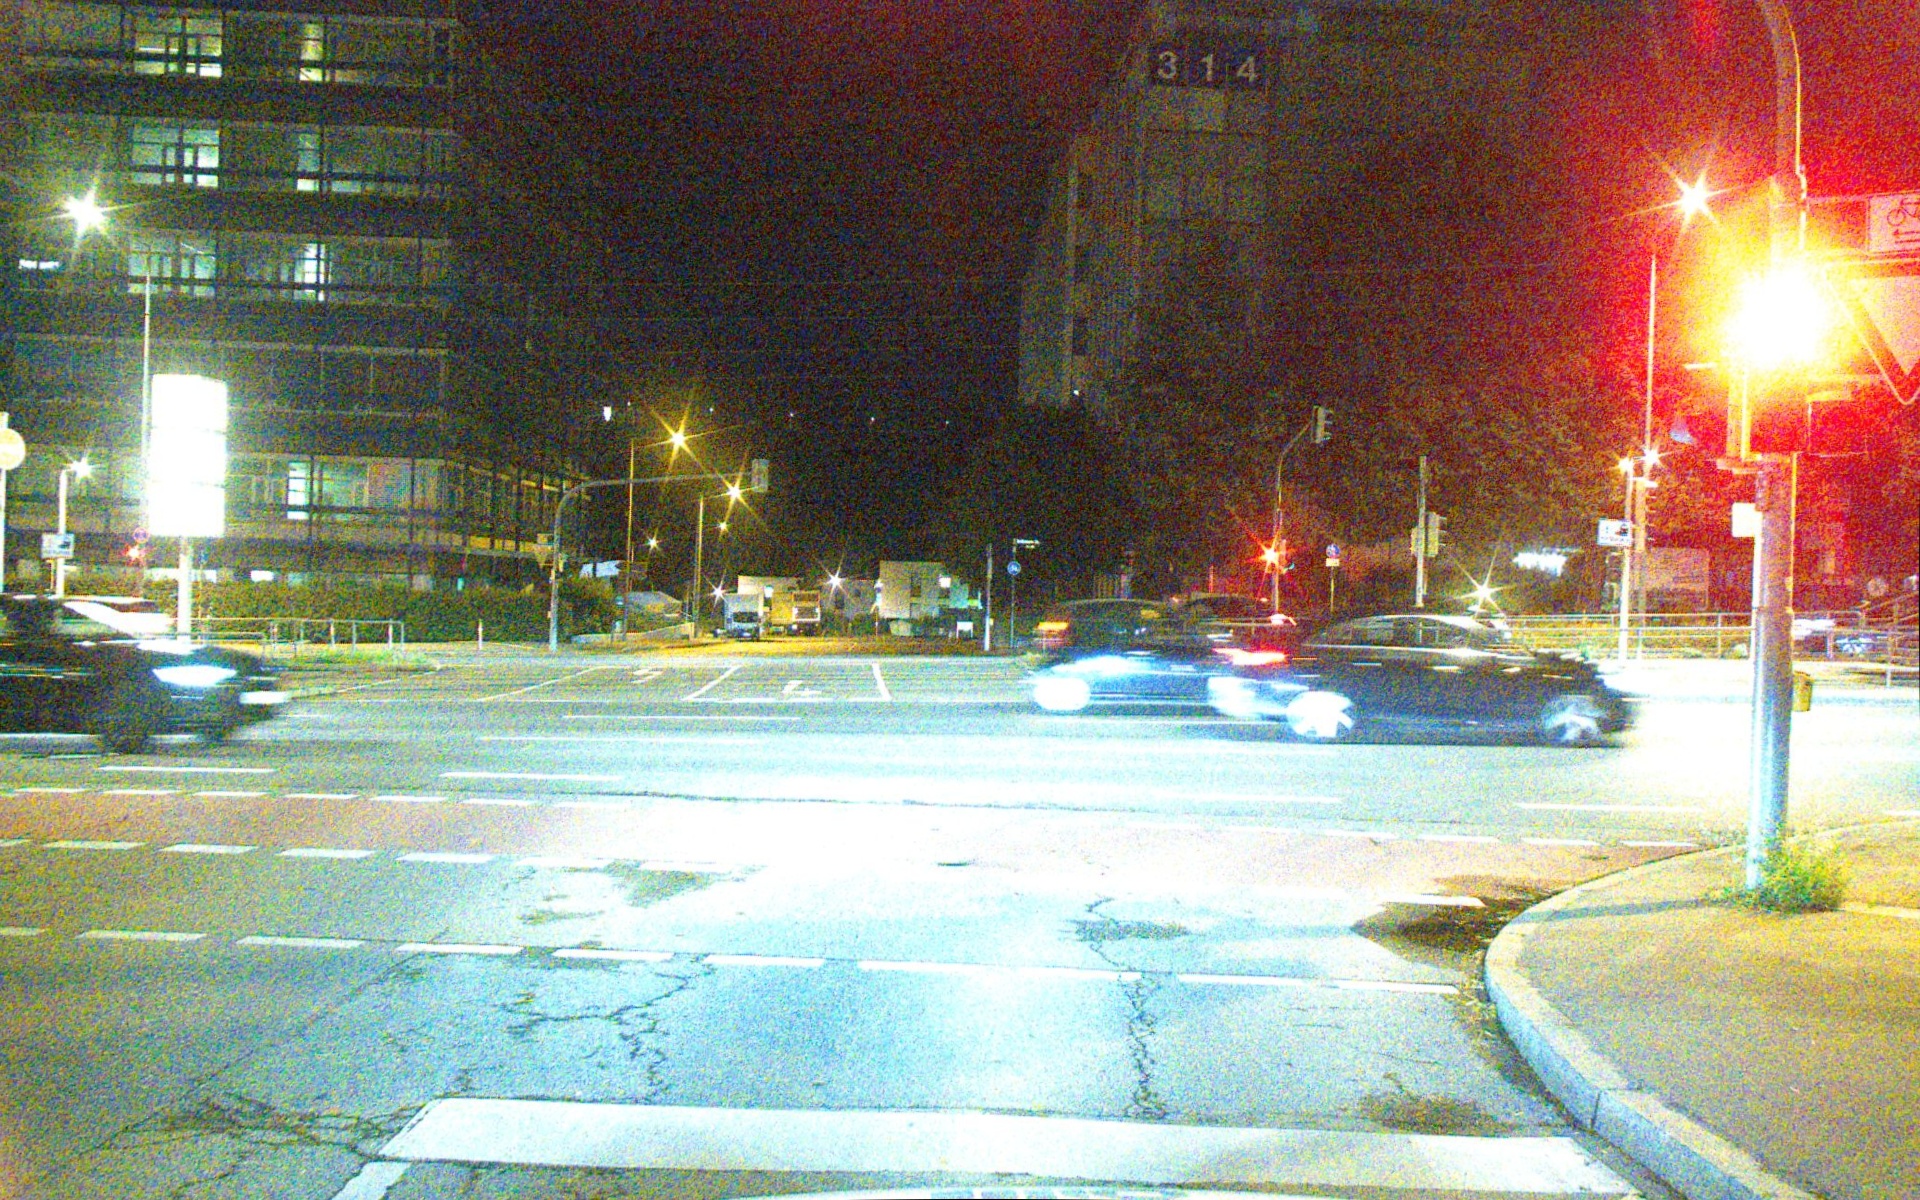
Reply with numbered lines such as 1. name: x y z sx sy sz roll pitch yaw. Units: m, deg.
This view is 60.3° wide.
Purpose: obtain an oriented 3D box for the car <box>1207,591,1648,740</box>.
1. car: 5.114 0.697 18.539 4.476 1.444 1.746 -1 3 2

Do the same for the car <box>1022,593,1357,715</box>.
1. car: 2.957 0.663 21.636 4.159 1.444 1.746 0 2 7

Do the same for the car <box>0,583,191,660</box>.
1. car: -20.565 0.468 38.476 4.476 1.612 1.847 1 1 1

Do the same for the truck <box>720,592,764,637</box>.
1. truck: -15.778 1.060 119.423 2.377 3.143 6.414 2 -1 -14

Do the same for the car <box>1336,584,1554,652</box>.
1. car: 10.739 0.396 36.873 4.334 1.445 1.851 -1 0 3

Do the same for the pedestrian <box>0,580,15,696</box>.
1. pedestrian: -14.803 0.563 24.884 0.663 1.752 0.706 1 -1 25

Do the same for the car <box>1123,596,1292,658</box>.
1. car: 5.924 0.632 39.910 3.792 1.429 1.768 -1 0 -1

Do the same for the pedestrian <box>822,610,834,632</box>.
1. pedestrian: -11.757 1.853 147.368 0.836 1.945 1.001 2 -1 -18

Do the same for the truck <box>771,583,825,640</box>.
1. truck: -14.624 1.035 148.606 3.307 4.927 7.868 2 -1 -17

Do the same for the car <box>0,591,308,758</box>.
1. car: -9.045 0.672 15.960 4.818 1.499 1.745 0 1 2

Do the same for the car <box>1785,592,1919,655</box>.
1. car: 22.544 0.538 39.502 4.718 1.445 1.851 -1 0 3
